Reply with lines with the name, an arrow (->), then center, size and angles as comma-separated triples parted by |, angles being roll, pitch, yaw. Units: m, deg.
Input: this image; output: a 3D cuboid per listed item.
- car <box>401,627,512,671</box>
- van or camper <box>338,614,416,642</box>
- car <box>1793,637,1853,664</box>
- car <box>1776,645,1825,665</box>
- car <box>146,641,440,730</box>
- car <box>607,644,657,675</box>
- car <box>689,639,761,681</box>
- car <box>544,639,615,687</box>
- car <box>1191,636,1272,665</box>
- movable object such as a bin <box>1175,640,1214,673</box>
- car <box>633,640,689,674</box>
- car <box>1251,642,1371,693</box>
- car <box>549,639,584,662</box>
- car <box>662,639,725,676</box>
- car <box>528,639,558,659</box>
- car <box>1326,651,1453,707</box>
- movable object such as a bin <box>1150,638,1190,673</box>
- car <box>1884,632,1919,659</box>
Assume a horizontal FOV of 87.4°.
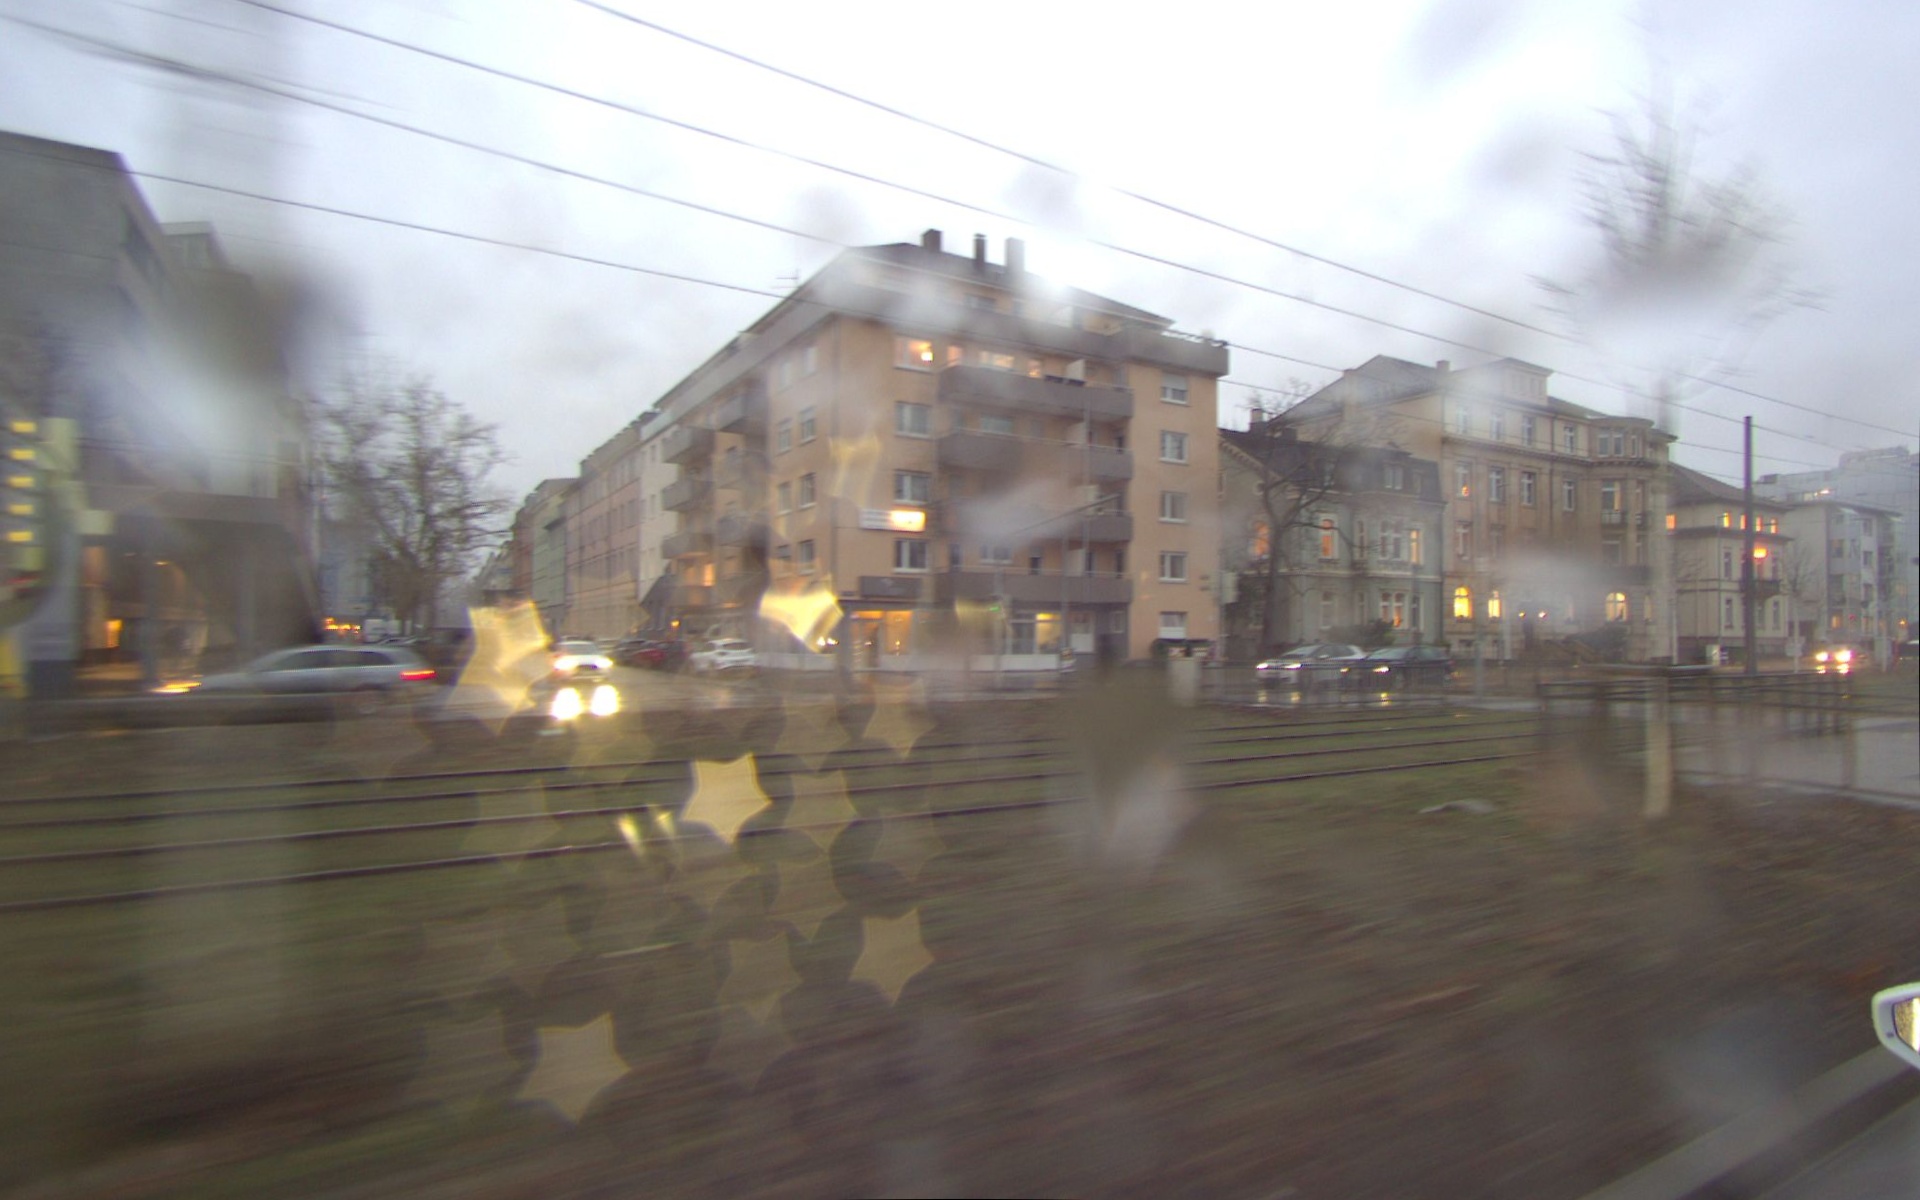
car -> -19.160, 1.852, 38.256 | 3.601, 1.622, 1.608 | 2, -2, -33
van or camper -> -48.761, 2.349, 84.153 | 5.566, 2.272, 1.985 | 1, -2, -30
car -> 57.872, 3.352, 67.364 | 4.067, 1.715, 1.982 | 1, -3, -33
car -> 63.839, 4.139, 76.260 | 3.885, 1.455, 1.796 | 1, -3, -33
car -> -13.472, 1.641, 20.520 | 1.972, 1.565, 4.677 | -1, -2, 43
car -> -17.736, 3.182, 54.256 | 1.738, 1.572, 3.806 | 1, -2, -31
car -> -9.624, 2.415, 40.896 | 1.758, 1.572, 3.806 | 1, -2, -31
car -> -14.144, 2.293, 37.213 | 1.667, 1.531, 3.964 | 2, 0, -33
car -> 14.165, 2.627, 52.642 | 1.813, 1.425, 3.966 | 1, -2, -31
movable object such as a bin -> 10.866, 2.603, 46.585 | 1.410, 1.500, 1.101 | 1, -2, -33
car -> -14.796, 2.766, 49.558 | 1.738, 1.572, 3.806 | 1, -2, -31
car -> 12.135, 2.301, 34.662 | 3.955, 1.606, 1.792 | 2, 0, -32
car -> -28.576, 3.655, 72.804 | 1.738, 1.572, 3.806 | 1, -2, -31
car -> -12.016, 2.547, 45.215 | 1.738, 1.572, 3.806 | 1, -2, -31
car -> -34.820, 4.076, 83.849 | 1.738, 1.572, 3.806 | 1, -2, -31
car -> 13.795, 2.510, 32.233 | 3.955, 1.606, 1.792 | 2, 0, -32
movable object such as a bin -> 9.555, 2.508, 45.726 | 1.410, 1.581, 1.101 | 1, -2, -33
car -> 71.833, 3.437, 75.768 | 4.859, 1.958, 1.982 | 1, -3, -33
